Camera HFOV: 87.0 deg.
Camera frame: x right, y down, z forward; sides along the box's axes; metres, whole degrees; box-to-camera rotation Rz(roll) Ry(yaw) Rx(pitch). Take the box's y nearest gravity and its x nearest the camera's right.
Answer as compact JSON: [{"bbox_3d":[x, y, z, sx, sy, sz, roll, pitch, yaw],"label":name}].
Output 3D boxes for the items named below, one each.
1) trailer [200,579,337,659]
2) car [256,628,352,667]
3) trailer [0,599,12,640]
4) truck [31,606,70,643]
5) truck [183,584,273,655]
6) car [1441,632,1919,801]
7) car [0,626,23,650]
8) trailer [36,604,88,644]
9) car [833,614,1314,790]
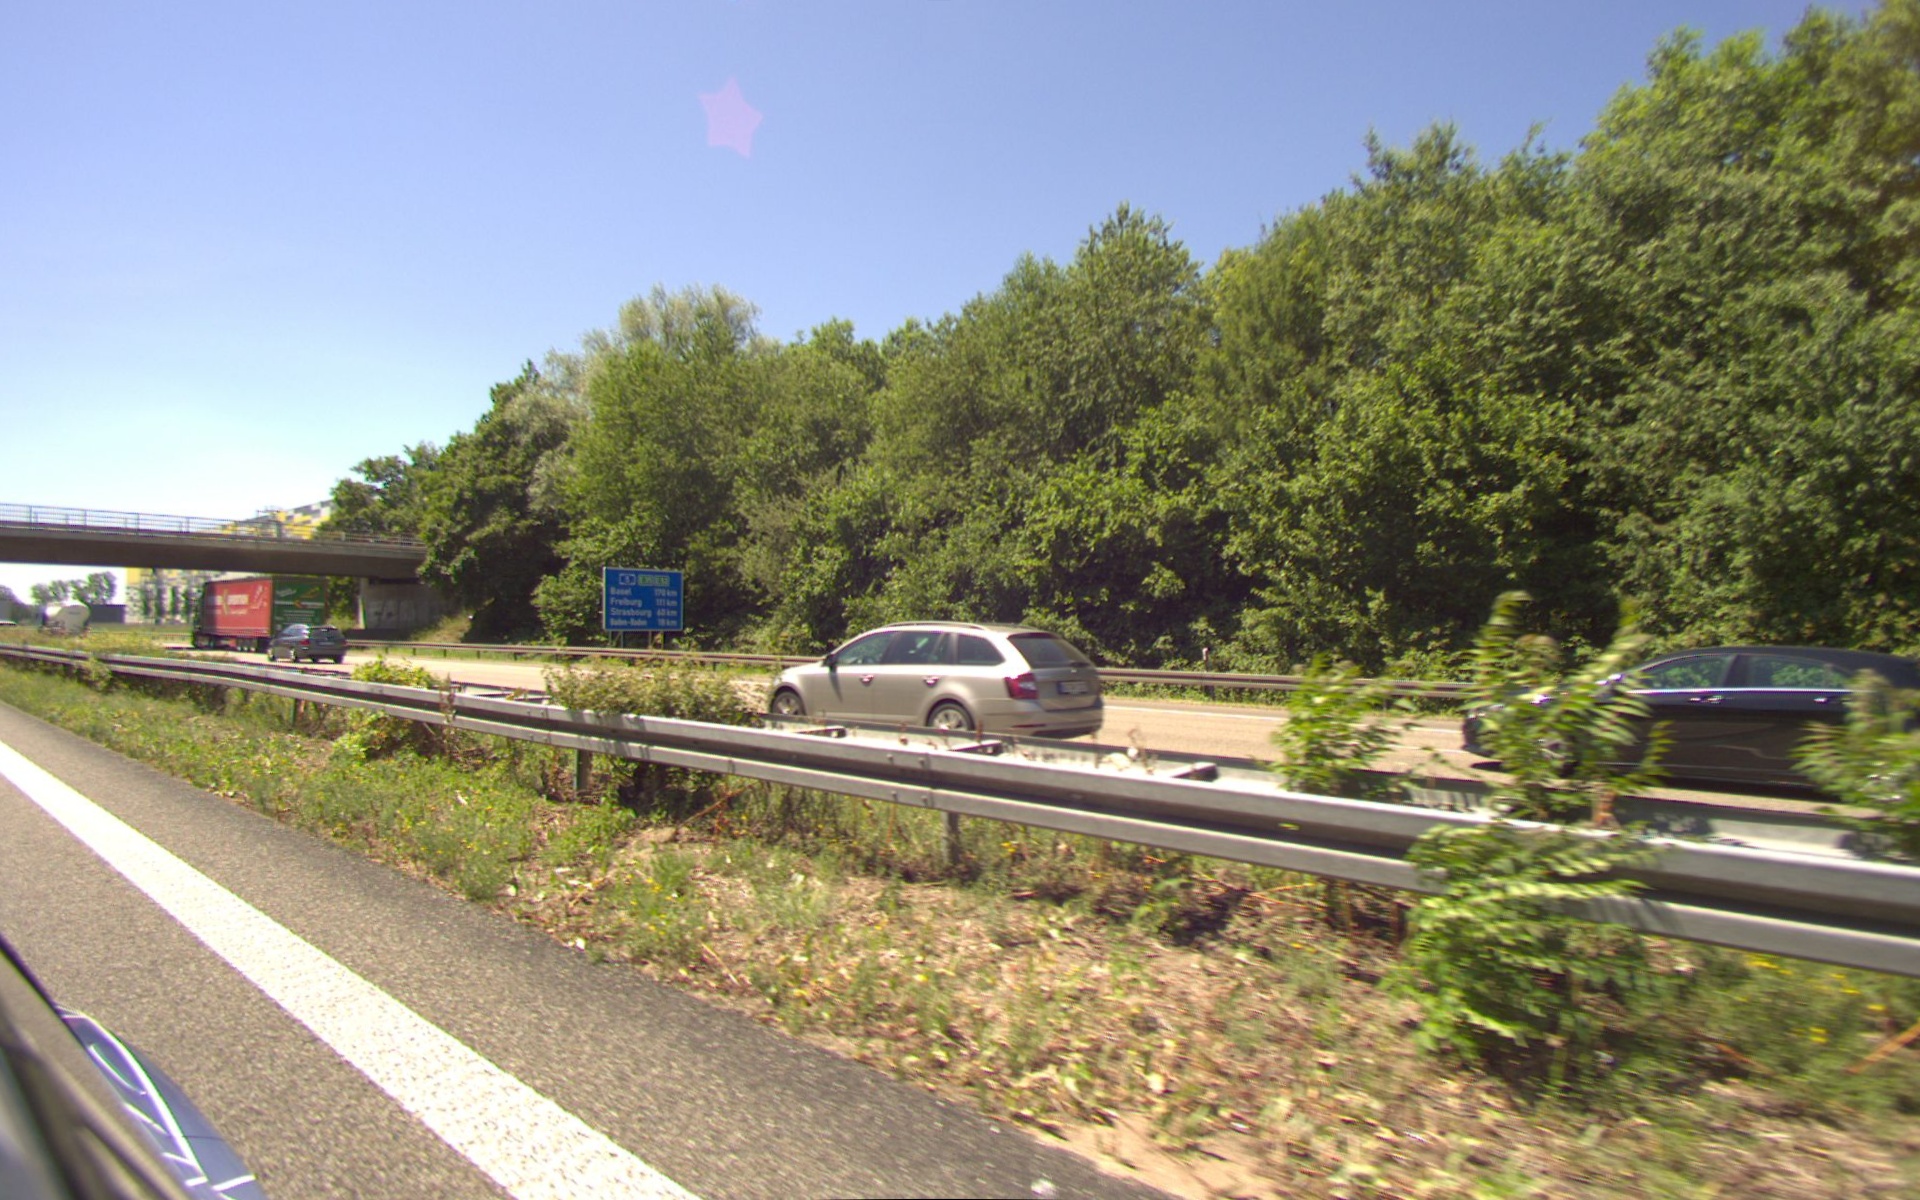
[{"bbox_3d":[-39.011,1.099,56.798,12.734,4.090,3.184,-1,-2,41],"label":"trailer"},{"bbox_3d":[-25.822,1.841,39.790,4.868,1.461,1.829,-1,-3,40],"label":"car"},{"bbox_3d":[-107.223,2.165,111.286,13.828,4.257,2.799,-2,-4,41],"label":"trailer"},{"bbox_3d":[-96.066,2.618,106.852,5.249,3.804,2.335,-2,-4,41],"label":"truck"},{"bbox_3d":[-44.665,1.202,61.693,5.615,4.090,3.184,-1,-2,41],"label":"truck"},{"bbox_3d":[7.547,1.038,10.105,4.703,1.413,1.651,-1,-2,40],"label":"car"},{"bbox_3d":[-63.408,2.492,66.820,4.514,1.523,1.651,-1,-2,39],"label":"car"},{"bbox_3d":[-90.796,2.475,102.226,12.068,3.823,2.334,-2,-4,41],"label":"trailer"},{"bbox_3d":[0.990,0.921,10.681,4.868,1.461,1.829,-1,-3,40],"label":"car"}]
